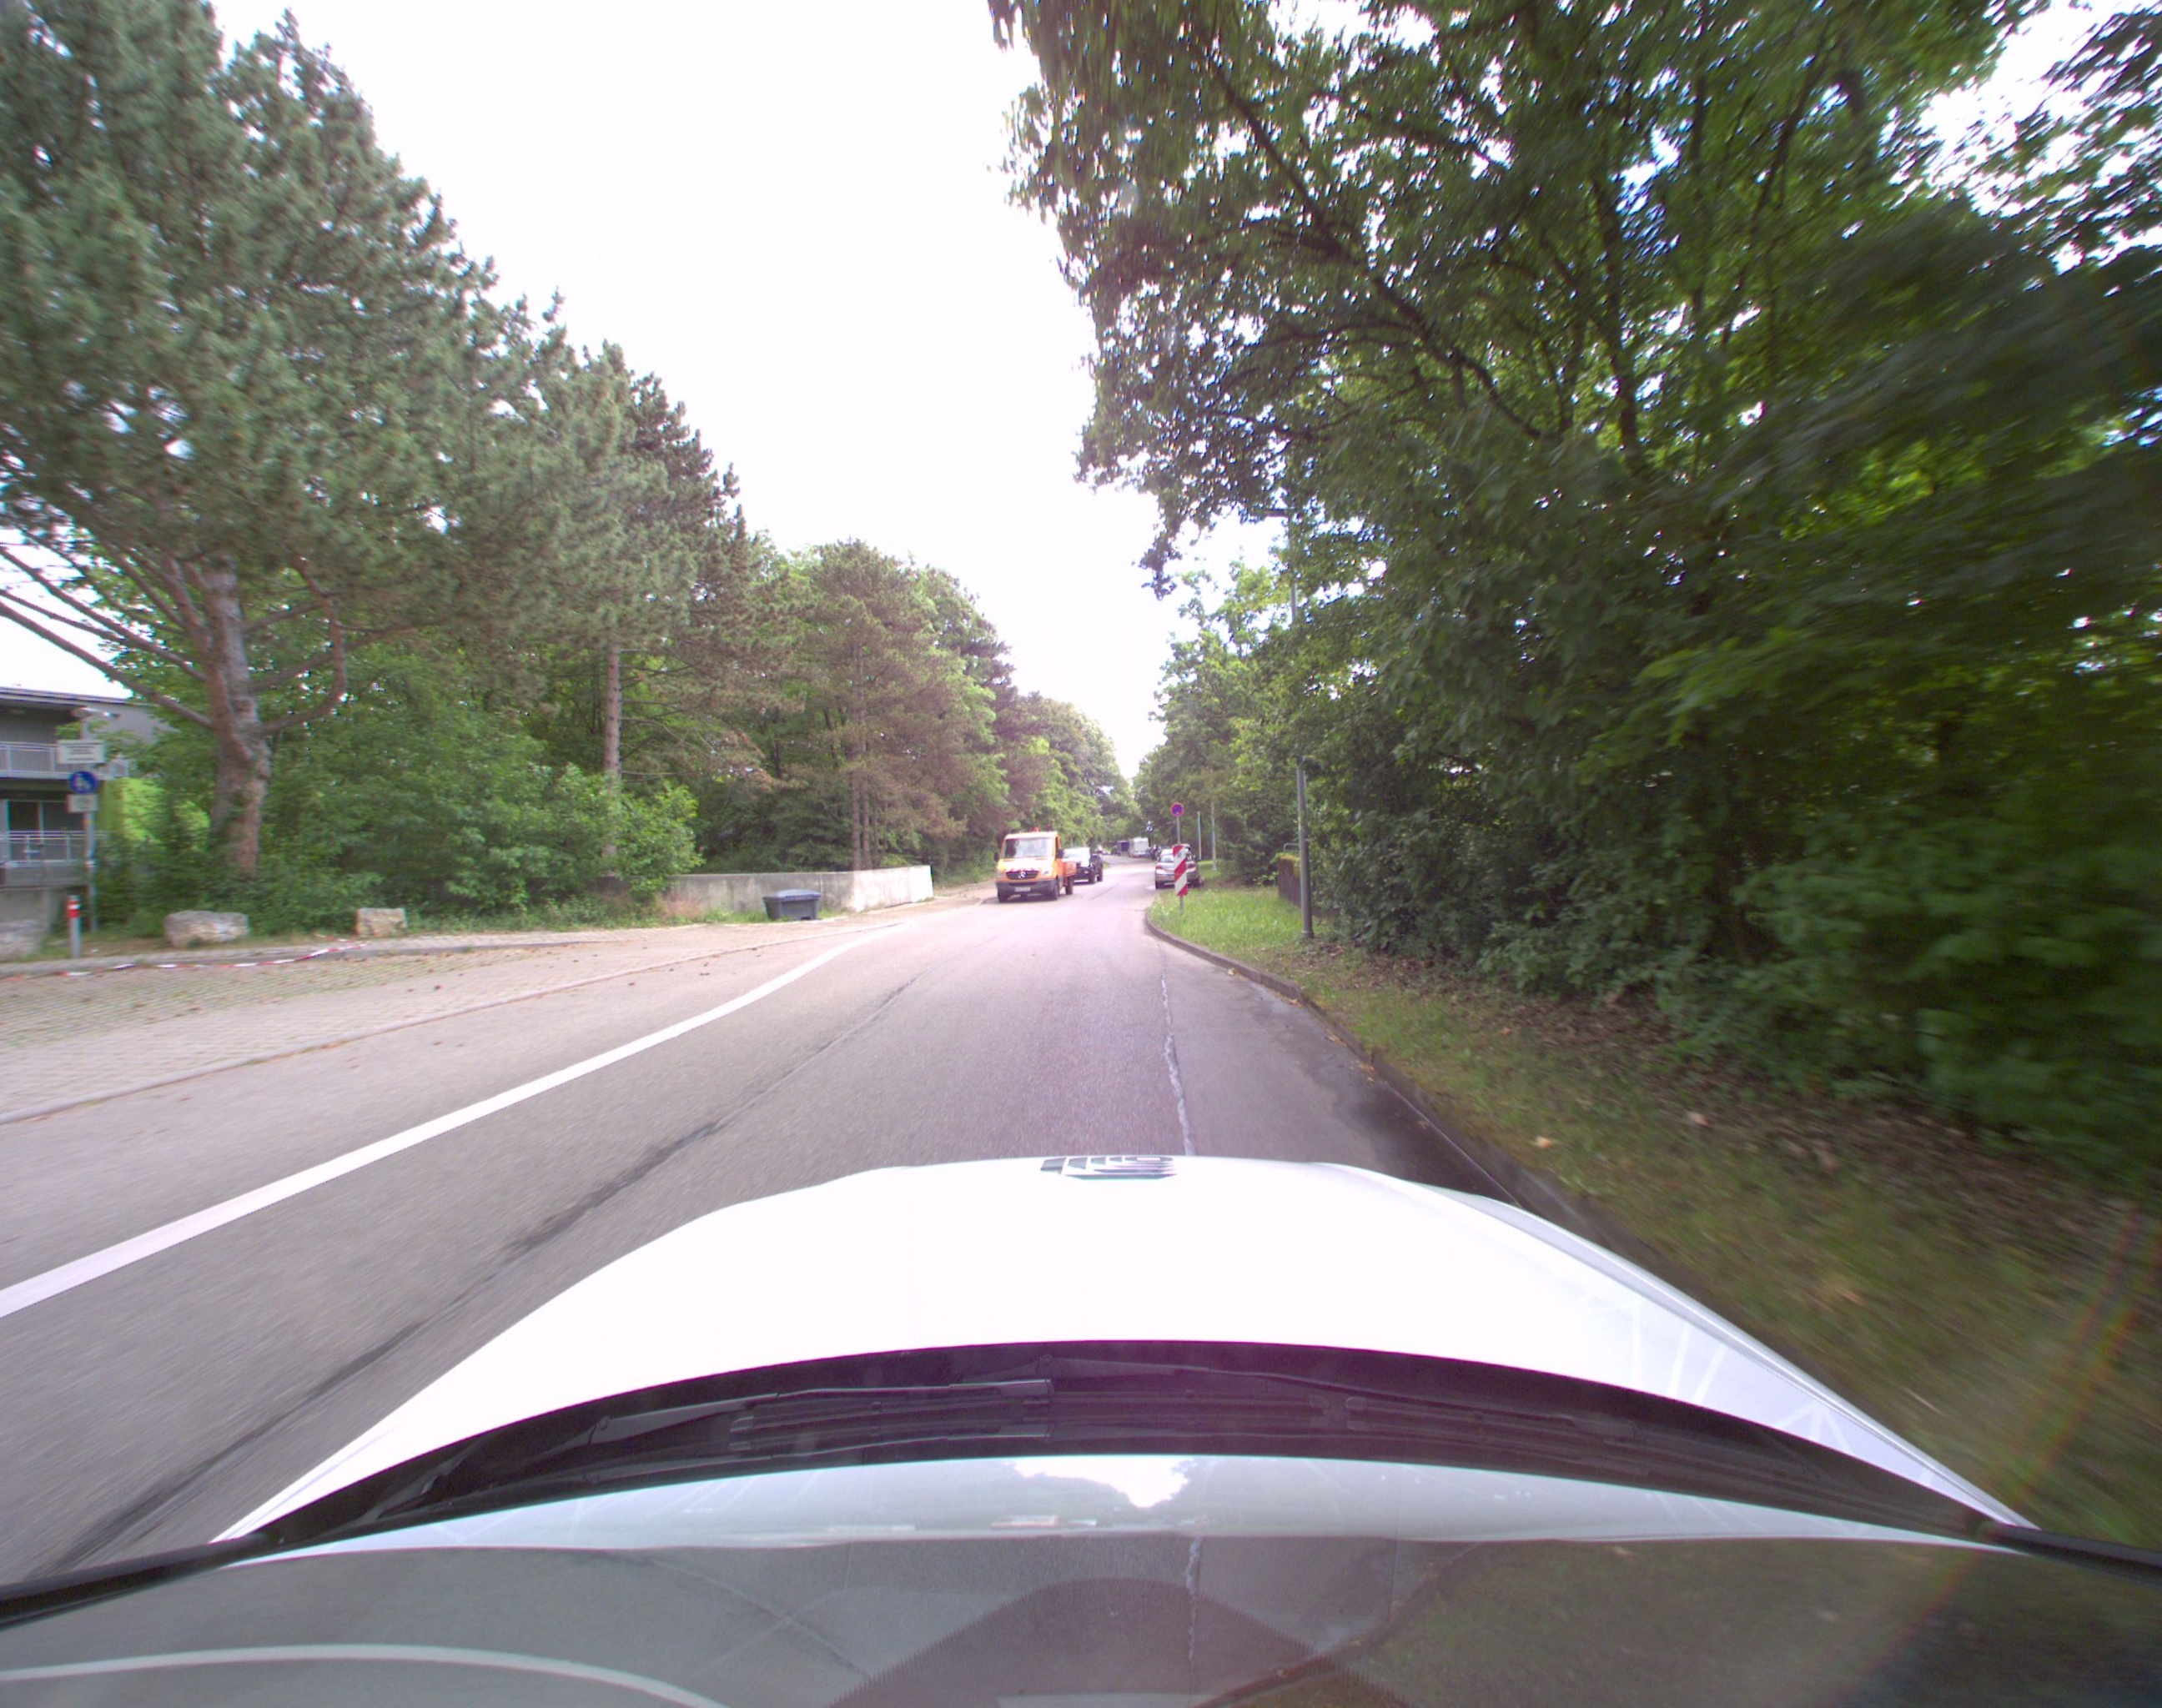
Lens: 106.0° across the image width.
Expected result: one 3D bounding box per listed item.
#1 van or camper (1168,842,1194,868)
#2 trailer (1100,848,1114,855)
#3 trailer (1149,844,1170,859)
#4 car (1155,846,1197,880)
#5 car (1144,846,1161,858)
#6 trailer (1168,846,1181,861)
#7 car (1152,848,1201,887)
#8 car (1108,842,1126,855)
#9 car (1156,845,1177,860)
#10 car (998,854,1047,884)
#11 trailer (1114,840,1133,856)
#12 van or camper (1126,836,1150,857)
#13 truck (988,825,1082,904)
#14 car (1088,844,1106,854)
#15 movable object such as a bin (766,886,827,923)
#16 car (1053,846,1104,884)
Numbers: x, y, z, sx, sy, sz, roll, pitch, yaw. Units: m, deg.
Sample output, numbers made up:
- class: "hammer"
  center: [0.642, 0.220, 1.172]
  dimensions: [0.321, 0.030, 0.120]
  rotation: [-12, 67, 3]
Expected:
- class: "van or camper"
  center: [7.590, 0.096, 61.997]
  dimensions: [1.793, 1.838, 4.328]
  rotation: [-2, -1, 6]
- class: "trailer"
  center: [4.561, -0.470, 144.051]
  dimensions: [1.652, 1.086, 3.985]
  rotation: [-5, 1, -11]
- class: "trailer"
  center: [10.050, -0.339, 104.312]
  dimensions: [1.973, 1.811, 5.147]
  rotation: [-3, 1, -1]
- class: "car"
  center: [4.721, 0.406, 40.527]
  dimensions: [1.876, 1.506, 5.186]
  rotation: [-3, 0, 7]
- class: "car"
  center: [9.953, -0.292, 113.687]
  dimensions: [1.796, 1.562, 3.831]
  rotation: [-3, 1, -3]
- class: "trailer"
  center: [10.500, -0.104, 91.684]
  dimensions: [1.273, 1.585, 2.462]
  rotation: [-2, 0, 2]
- class: "car"
  center: [3.927, 0.499, 33.111]
  dimensions: [1.783, 1.411, 4.068]
  rotation: [-3, 0, 8]
- class: "car"
  center: [6.148, -0.928, 140.218]
  dimensions: [1.997, 2.025, 3.981]
  rotation: [-6, 3, -14]
- class: "car"
  center: [10.228, -0.165, 98.100]
  dimensions: [1.788, 1.670, 4.497]
  rotation: [-3, -1, -2]
- class: "car"
  center: [-3.010, 0.748, 42.652]
  dimensions: [1.796, 1.403, 4.379]
  rotation: [-1, 0, 6]
- class: "trailer"
  center: [7.002, -0.972, 134.783]
  dimensions: [1.996, 2.398, 3.982]
  rotation: [-3, 1, -13]
- class: "van or camper"
  center: [8.619, -1.134, 124.043]
  dimensions: [2.478, 2.875, 6.877]
  rotation: [-3, 0, -5]
- class: "truck"
  center: [-1.445, 0.306, 28.622]
  dimensions: [2.310, 2.470, 6.031]
  rotation: [-1, 1, 6]
- class: "car"
  center: [2.997, -0.894, 153.216]
  dimensions: [2.041, 1.803, 4.057]
  rotation: [-4, 1, -19]
- class: "movable object such as a bin"
  center: [-6.513, 1.137, 18.638]
  dimensions: [1.151, 0.760, 1.039]
  rotation: [0, -1, -31]
- class: "car"
  center: [-0.047, 0.507, 41.199]
  dimensions: [1.984, 1.735, 5.345]
  rotation: [-2, 0, 5]
